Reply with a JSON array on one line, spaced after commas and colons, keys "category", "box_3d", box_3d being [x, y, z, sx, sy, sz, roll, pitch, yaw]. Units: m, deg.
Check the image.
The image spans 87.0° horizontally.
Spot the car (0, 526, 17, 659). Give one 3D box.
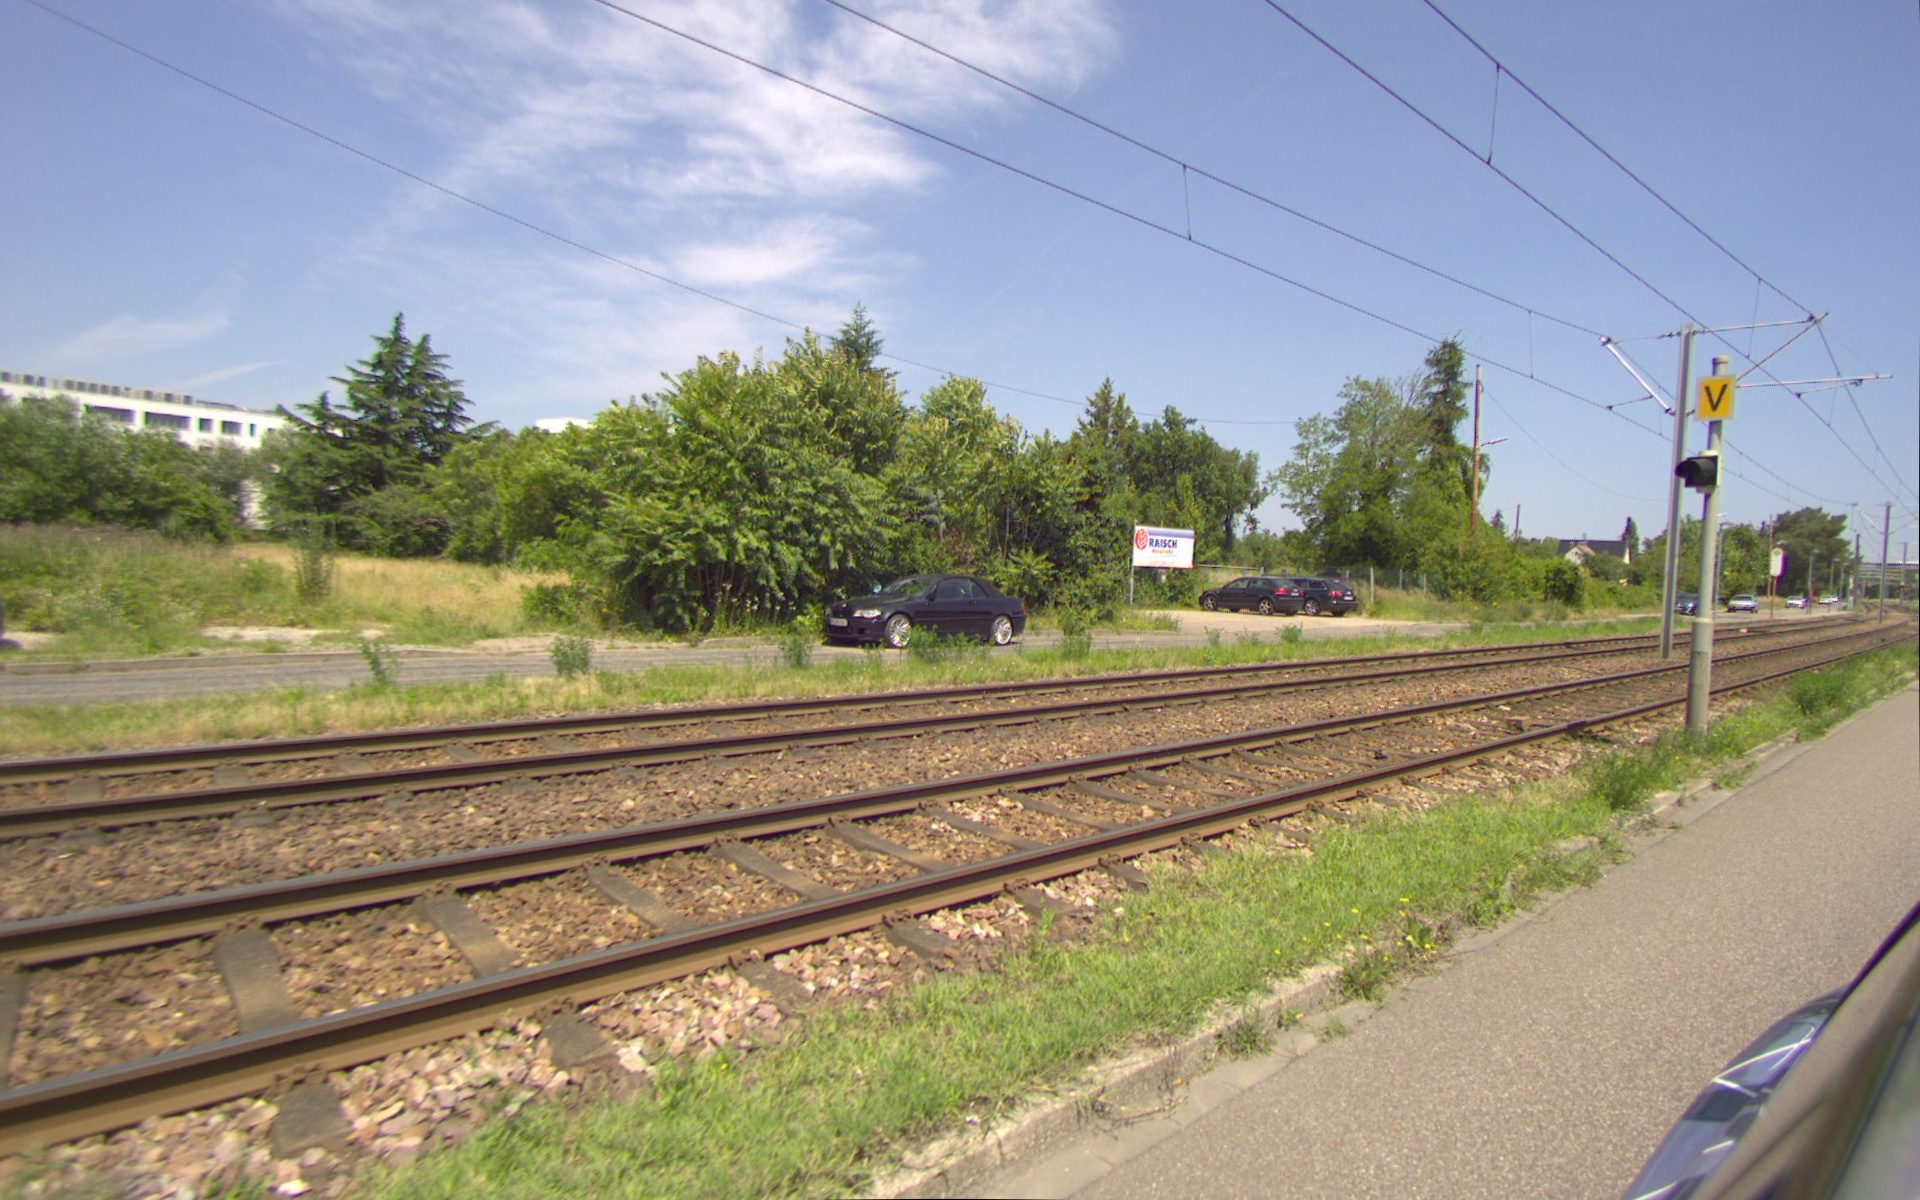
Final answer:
[{"category": "car", "box_3d": [-13.565, -0.111, 11.262, 4.480, 1.580, 1.937, 0, 2, -43]}]

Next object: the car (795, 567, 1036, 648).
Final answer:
[{"category": "car", "box_3d": [-0.743, 0.097, 19.247, 4.439, 1.346, 1.863, 0, 2, -43]}]

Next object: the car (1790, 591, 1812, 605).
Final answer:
[{"category": "car", "box_3d": [99.590, -0.264, 119.831, 1.713, 1.507, 3.938, 3, 2, 44]}]

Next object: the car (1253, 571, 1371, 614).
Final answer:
[{"category": "car", "box_3d": [13.643, -0.315, 39.398, 1.863, 1.536, 4.000, 0, 2, -36]}]

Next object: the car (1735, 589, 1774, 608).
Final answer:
[{"category": "car", "box_3d": [62.312, -0.123, 79.401, 1.940, 1.439, 3.935, 3, 2, 45]}]

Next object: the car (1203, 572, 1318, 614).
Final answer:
[{"category": "car", "box_3d": [11.314, -0.301, 38.242, 1.866, 1.436, 3.735, 0, 2, -41]}]

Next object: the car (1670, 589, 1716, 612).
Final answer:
[{"category": "car", "box_3d": [48.691, 0.010, 67.199, 4.793, 1.439, 1.621, 0, 2, -44]}]
